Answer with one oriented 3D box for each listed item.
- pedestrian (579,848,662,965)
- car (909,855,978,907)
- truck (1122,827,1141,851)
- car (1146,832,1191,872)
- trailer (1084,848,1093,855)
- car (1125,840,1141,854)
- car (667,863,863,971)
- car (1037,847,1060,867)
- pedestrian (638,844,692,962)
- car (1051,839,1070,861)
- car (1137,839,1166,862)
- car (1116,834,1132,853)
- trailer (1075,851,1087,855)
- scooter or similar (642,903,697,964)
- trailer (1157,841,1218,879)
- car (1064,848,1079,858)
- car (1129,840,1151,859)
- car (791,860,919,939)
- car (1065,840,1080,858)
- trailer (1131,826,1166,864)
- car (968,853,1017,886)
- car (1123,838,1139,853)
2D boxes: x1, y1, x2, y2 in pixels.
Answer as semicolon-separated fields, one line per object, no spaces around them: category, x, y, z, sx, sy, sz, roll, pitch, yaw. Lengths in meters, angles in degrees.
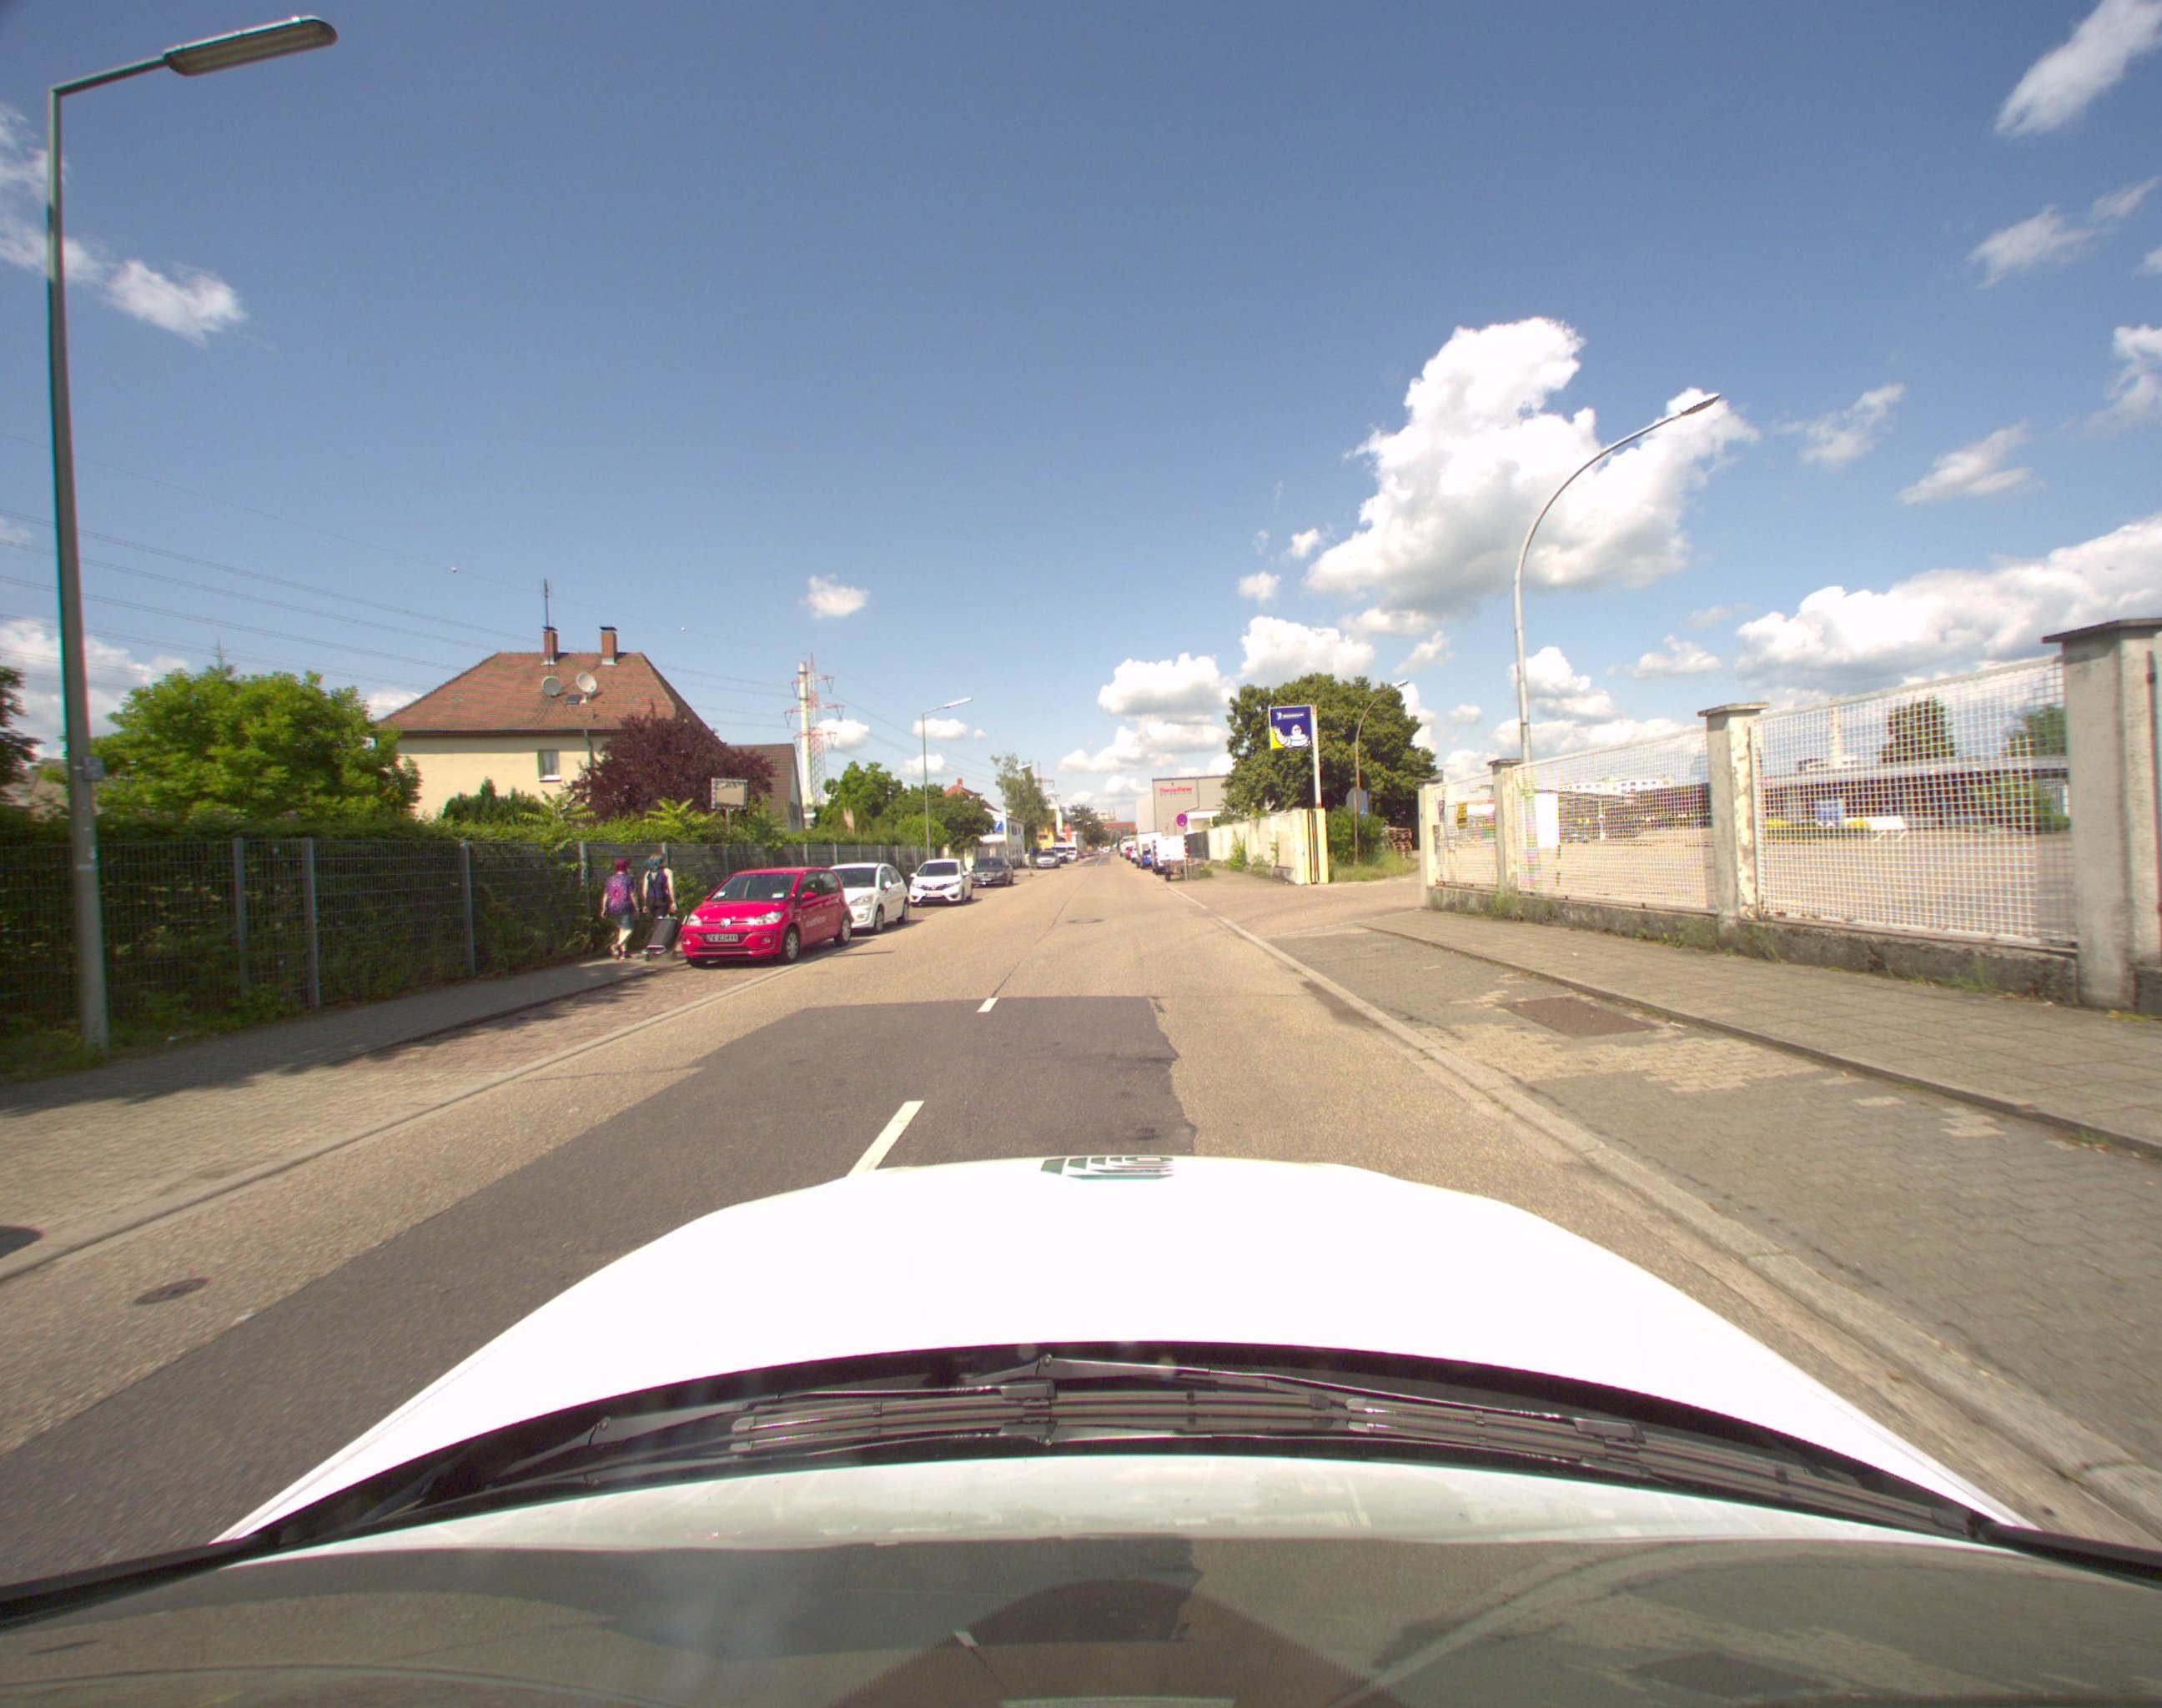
pedestrian;-7.444;0.822;13.205;0.705;1.801;0.916;-3;0;2
car;-4.602;0.849;27.831;1.615;1.522;4.174;-3;1;-1
truck;7.909;-2.288;127.893;2.449;3.292;6.822;-8;0;3
car;4.898;-0.133;46.344;1.986;2.013;5.652;-4;0;2
trailer;1.860;-0.657;197.804;1.986;1.556;4.256;-3;0;2
car;6.657;-0.924;104.037;1.698;1.624;4.094;-6;0;1
car;-5.122;0.944;13.769;1.659;1.467;3.746;-2;0;3
car;-3.044;0.251;76.722;1.784;1.719;4.754;-1;1;2
pedestrian;-6.895;0.788;13.529;0.449;1.894;0.678;-3;0;2
car;-2.478;-0.479;99.424;2.023;2.557;6.657;-1;0;0
car;5.077;-0.256;58.698;1.684;1.460;4.071;-5;0;1
car;8.427;-2.084;158.826;2.382;3.362;6.643;-6;0;-1
trailer;-0.032;-0.181;176.805;2.353;0.893;5.572;-1;0;2
scooter or similar;-6.594;1.262;13.074;0.469;0.887;0.710;-3;0;2
trailer;4.623;0.263;35.961;1.745;1.417;4.544;-6;0;-3
car;-1.412;-0.089;119.085;1.788;1.397;4.506;-2;0;3
car;6.066;-0.525;83.860;1.928;1.693;4.682;-6;1;2
car;-4.995;0.943;18.584;1.639;1.477;4.030;-3;0;1
car;-1.347;-0.791;126.244;2.019;2.561;6.841;-1;0;1
trailer;5.386;-0.695;65.378;2.196;2.736;6.224;-6;0;1
car;-4.285;0.721;40.050;1.799;1.418;4.497;-1;1;1
car;6.763;-1.191;110.467;2.045;1.903;5.151;-4;1;3
